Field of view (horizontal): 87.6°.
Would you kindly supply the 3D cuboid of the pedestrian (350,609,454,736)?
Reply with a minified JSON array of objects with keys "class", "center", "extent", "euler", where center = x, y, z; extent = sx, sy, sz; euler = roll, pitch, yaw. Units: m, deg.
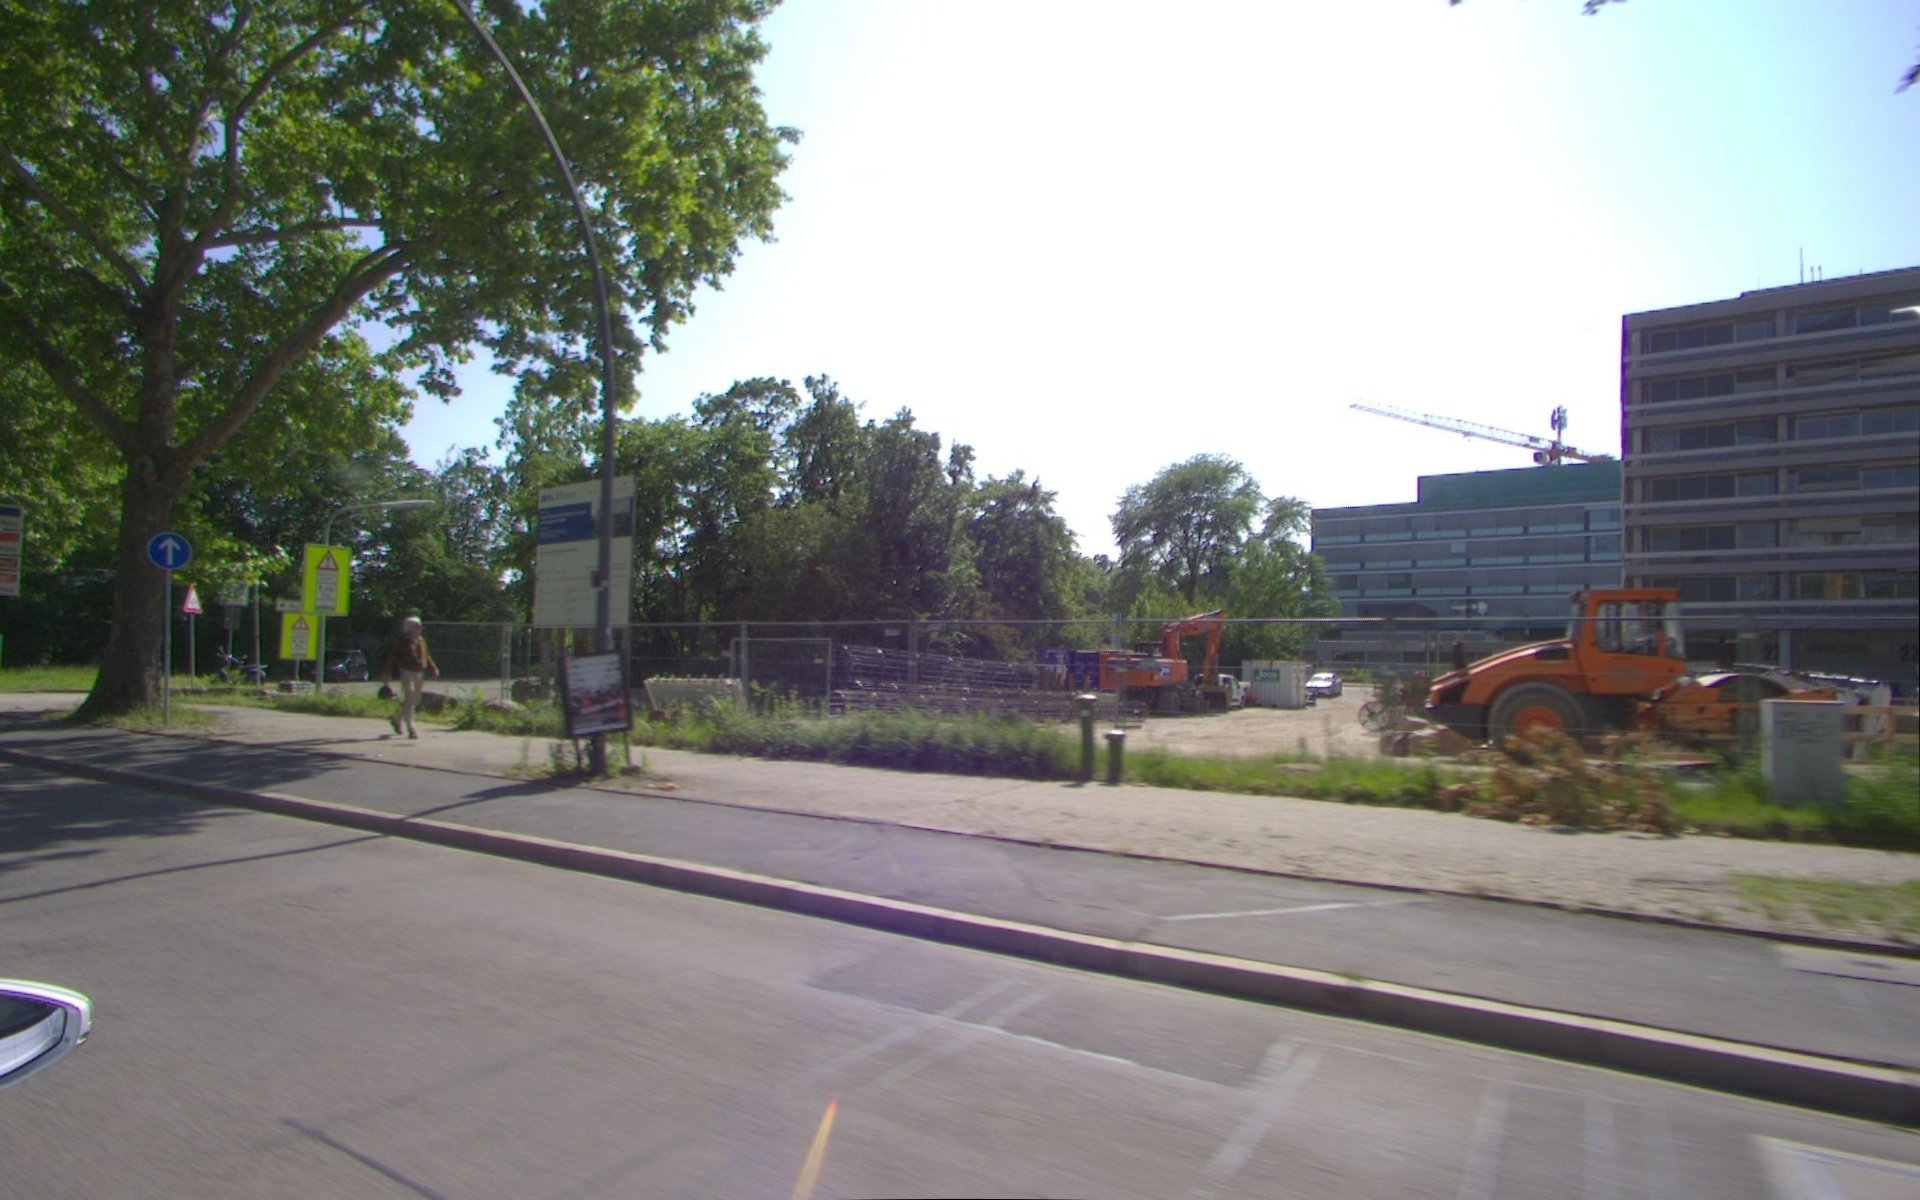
[{"class":"pedestrian","center":[-8.817,1.134,15.845],"extent":[1.135,1.915,0.938],"euler":[0,-3,32]}]

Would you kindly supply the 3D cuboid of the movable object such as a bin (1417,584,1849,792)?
[{"class":"movable object such as a bin","center":[11.302,1.422,17.495],"extent":[5.894,3.109,2.369],"euler":[0,-4,29]}]

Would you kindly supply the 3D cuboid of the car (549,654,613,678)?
[{"class":"car","center":[-24.924,4.370,66.010],"extent":[1.655,1.471,3.994],"euler":[0,-4,23]}]

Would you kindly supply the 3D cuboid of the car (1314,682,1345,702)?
[{"class":"car","center":[25.215,6.262,68.262],"extent":[1.432,1.268,3.108],"euler":[-1,-5,32]}]

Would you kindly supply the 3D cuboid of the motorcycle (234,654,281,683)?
[{"class":"motorcycle","center":[-24.118,2.364,34.380],"extent":[0.463,0.979,1.220],"euler":[0,-4,25]}]

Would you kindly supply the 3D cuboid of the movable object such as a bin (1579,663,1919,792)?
[{"class":"movable object such as a bin","center":[37.019,5.709,47.447],"extent":[6.638,5.238,11.767],"euler":[3,-4,-15]}]

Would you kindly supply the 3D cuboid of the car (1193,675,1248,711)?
[{"class":"car","center":[13.534,4.807,51.964],"extent":[1.787,1.787,3.511],"euler":[-1,-5,32]}]

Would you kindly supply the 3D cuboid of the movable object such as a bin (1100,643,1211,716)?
[{"class":"movable object such as a bin","center":[8.839,3.535,44.810],"extent":[3.247,3.011,5.172],"euler":[-1,-4,32]}]

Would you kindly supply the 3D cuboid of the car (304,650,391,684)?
[{"class":"car","center":[-28.545,3.113,46.789],"extent":[1.651,1.471,4.004],"euler":[2,-4,-2]}]
